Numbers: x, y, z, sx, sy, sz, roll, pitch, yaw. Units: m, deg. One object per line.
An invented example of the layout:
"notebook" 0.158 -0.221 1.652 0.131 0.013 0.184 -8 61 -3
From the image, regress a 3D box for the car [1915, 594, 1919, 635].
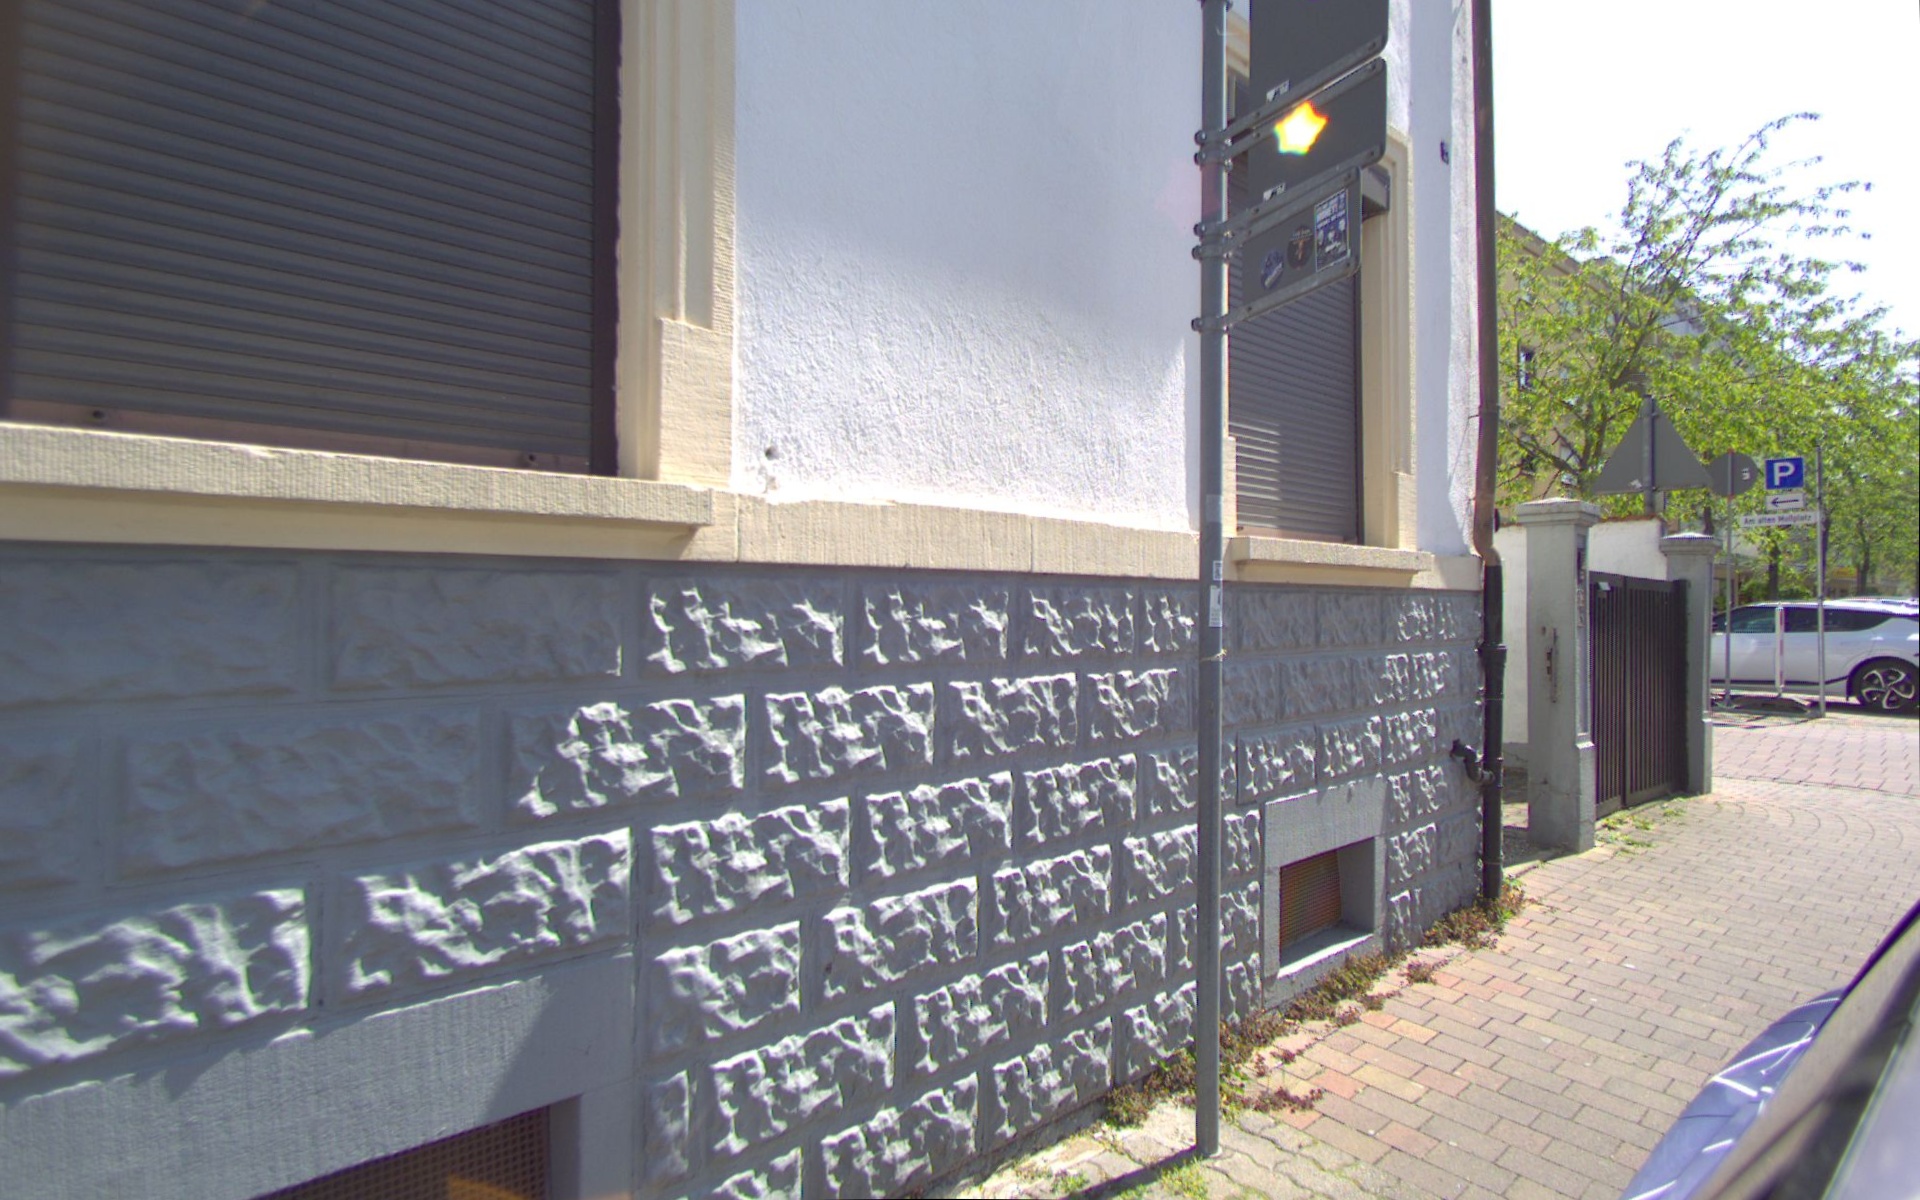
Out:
"car" 40.214 0.593 39.426 1.726 1.638 4.250 0 0 -41

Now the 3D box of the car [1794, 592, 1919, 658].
"car" 23.962 0.610 25.311 1.816 1.608 4.519 0 0 -38

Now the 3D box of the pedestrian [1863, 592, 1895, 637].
"pedestrian" 36.653 0.586 40.378 0.635 1.753 0.616 -1 -2 -6

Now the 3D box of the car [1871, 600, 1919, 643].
"car" 35.385 0.776 35.843 4.352 1.482 1.869 1 0 32

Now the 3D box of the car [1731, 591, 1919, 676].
"car" 18.051 0.627 20.223 1.792 1.553 3.950 0 1 -41

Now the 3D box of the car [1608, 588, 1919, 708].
"car" 12.617 0.637 15.290 1.757 1.596 4.449 1 0 -40

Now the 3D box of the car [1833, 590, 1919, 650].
"car" 27.412 0.562 28.554 1.652 1.632 4.033 0 1 -41

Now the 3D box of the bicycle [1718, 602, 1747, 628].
"bicycle" 34.017 0.660 44.569 1.834 1.095 0.642 -1 -2 -41

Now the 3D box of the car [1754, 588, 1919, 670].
"car" 20.137 0.596 21.981 1.966 1.702 4.284 0 0 -42
